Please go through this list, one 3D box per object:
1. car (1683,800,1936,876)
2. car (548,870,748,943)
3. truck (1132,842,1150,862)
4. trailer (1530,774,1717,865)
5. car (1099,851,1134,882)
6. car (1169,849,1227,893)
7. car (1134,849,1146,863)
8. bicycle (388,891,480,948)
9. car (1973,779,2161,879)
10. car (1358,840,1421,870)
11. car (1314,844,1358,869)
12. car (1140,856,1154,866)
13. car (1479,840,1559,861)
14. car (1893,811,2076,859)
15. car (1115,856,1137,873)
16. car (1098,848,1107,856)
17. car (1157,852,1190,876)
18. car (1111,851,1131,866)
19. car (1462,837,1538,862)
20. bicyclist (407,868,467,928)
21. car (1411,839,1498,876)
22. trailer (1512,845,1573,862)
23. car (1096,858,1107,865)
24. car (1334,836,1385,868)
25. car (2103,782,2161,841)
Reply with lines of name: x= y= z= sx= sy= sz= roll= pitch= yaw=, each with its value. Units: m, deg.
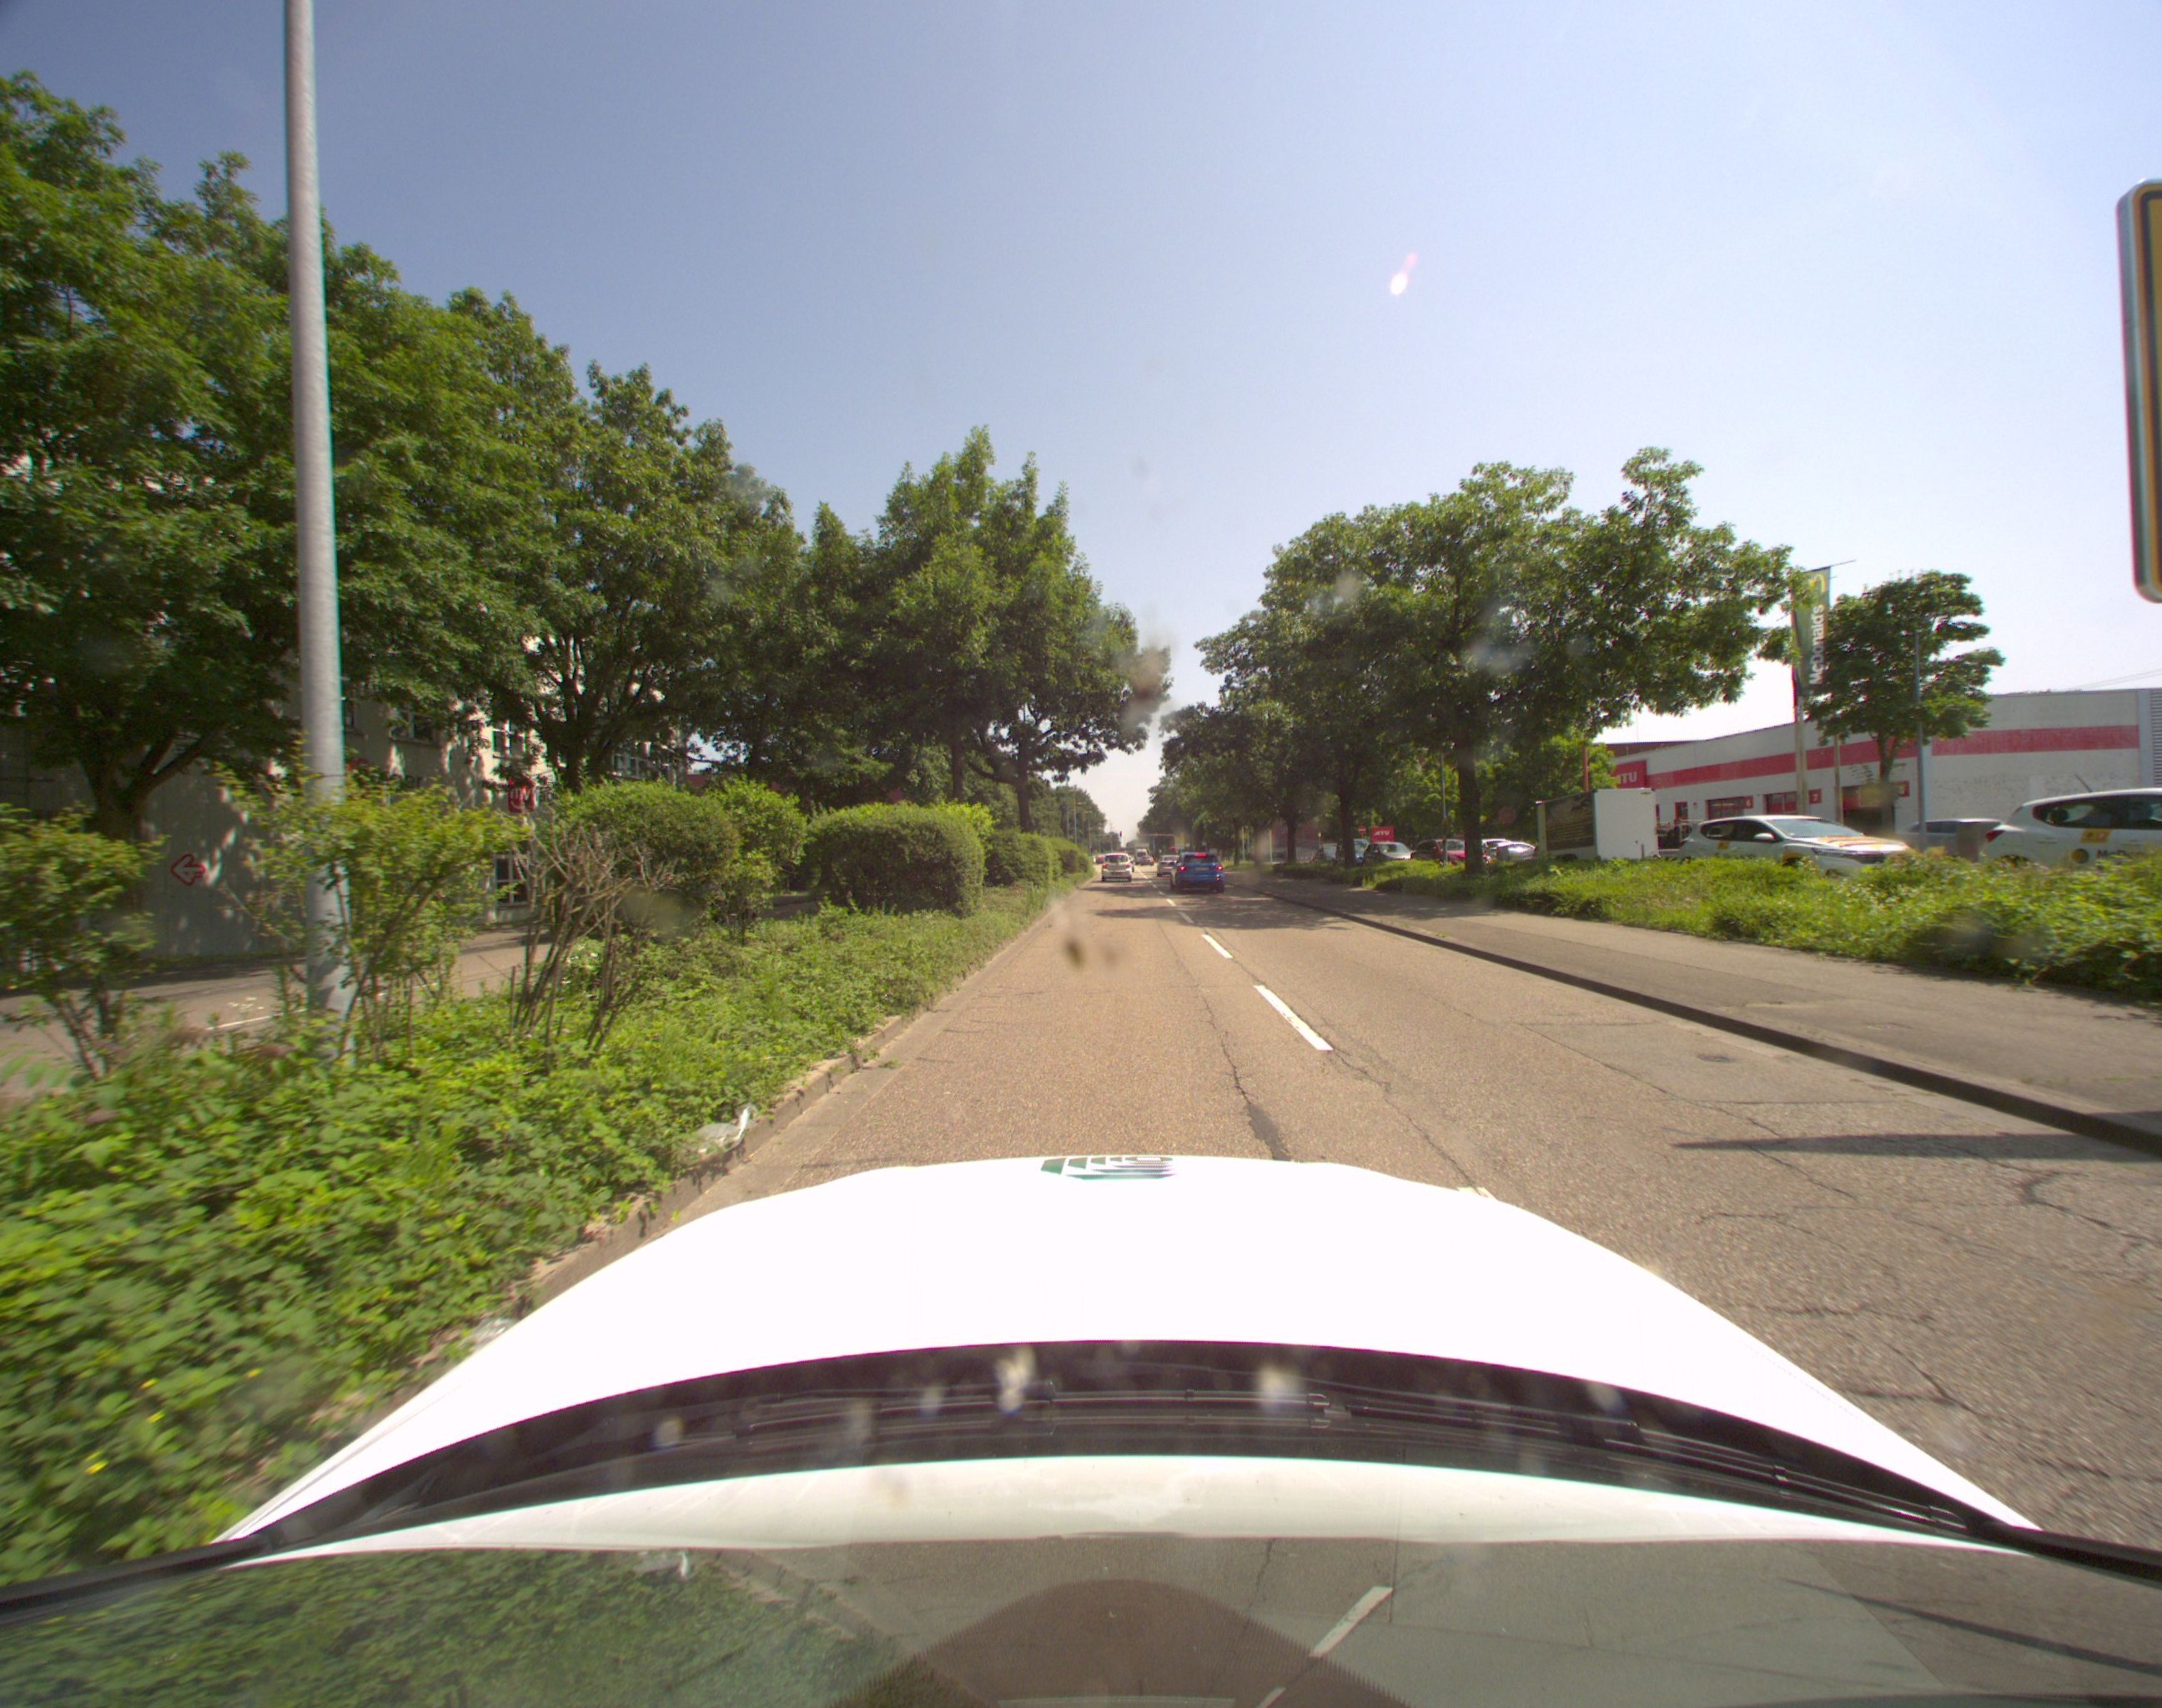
car: x=13.579 y=-0.244 z=15.499 sx=1.613 sy=1.253 sz=3.631 roll=-1 pitch=-1 yaw=1
car: x=-10.905 y=1.243 z=21.108 sx=2.118 sy=1.451 sz=5.244 roll=-4 pitch=0 yaw=2
truck: x=10.919 y=-0.401 z=149.175 sx=2.920 sy=3.502 sz=9.164 roll=-2 pitch=0 yaw=3
trailer: x=14.115 y=-0.806 z=21.674 sx=1.692 sy=2.055 sz=5.491 roll=-1 pitch=0 yaw=5
car: x=1.892 y=0.681 z=44.053 sx=1.634 sy=1.552 sz=3.323 roll=-1 pitch=-1 yaw=-1
car: x=4.564 y=0.645 z=32.249 sx=1.802 sy=1.593 sz=4.351 roll=-1 pitch=-1 yaw=2
car: x=10.026 y=0.338 z=138.732 sx=1.985 sy=2.255 sz=4.003 roll=-2 pitch=0 yaw=3
bicycle: x=-13.992 y=1.386 z=17.677 sx=0.519 sy=1.119 sz=1.763 roll=-1 pitch=-1 yaw=2
car: x=13.252 y=-0.300 z=9.540 sx=1.587 sy=1.158 sz=3.740 roll=-1 pitch=-1 yaw=2
car: x=14.864 y=0.047 z=39.414 sx=1.694 sy=1.380 sz=3.908 roll=-1 pitch=0 yaw=2
car: x=15.680 y=0.191 z=50.279 sx=1.692 sy=1.424 sz=4.661 roll=-1 pitch=-1 yaw=6
car: x=9.978 y=1.068 z=123.001 sx=1.858 sy=1.310 sz=4.002 roll=-2 pitch=0 yaw=2
car: x=27.371 y=-0.219 z=50.983 sx=3.971 sy=1.221 sz=1.910 roll=-1 pitch=-1 yaw=2
car: x=27.735 y=-0.539 z=25.192 sx=1.576 sy=1.339 sz=3.780 roll=-2 pitch=0 yaw=3
car: x=3.883 y=0.890 z=70.327 sx=1.877 sy=1.354 sz=4.003 roll=-1 pitch=-1 yaw=3
car: x=5.442 y=-0.575 z=208.635 sx=1.987 sy=2.013 sz=3.999 roll=-2 pitch=0 yaw=0
car: x=5.997 y=0.677 z=53.228 sx=1.858 sy=1.473 sz=4.002 roll=-1 pitch=-1 yaw=2
car: x=4.094 y=0.497 z=84.212 sx=1.789 sy=1.524 sz=3.998 roll=-1 pitch=-1 yaw=-1
car: x=27.404 y=-0.309 z=53.405 sx=3.973 sy=1.442 sz=1.943 roll=-2 pitch=0 yaw=1
bicyclist: x=-13.982 y=0.946 z=17.703 sx=0.641 sy=1.253 sz=0.813 roll=-1 pitch=-1 yaw=2
car: x=14.996 y=0.131 z=32.956 sx=1.694 sy=1.380 sz=4.326 roll=-1 pitch=0 yaw=2
trailer: x=26.134 y=-0.025 z=46.175 sx=2.701 sy=0.911 sz=1.382 roll=0 pitch=0 yaw=2
car: x=3.896 y=1.362 z=154.177 sx=1.985 sy=1.288 sz=4.003 roll=-2 pitch=0 yaw=3
car: x=15.228 y=-0.053 z=44.700 sx=1.693 sy=1.637 sz=3.910 roll=-1 pitch=-1 yaw=4
car: x=34.654 y=-1.381 z=24.637 sx=1.703 sy=1.805 sz=4.634 roll=-2 pitch=0 yaw=3
